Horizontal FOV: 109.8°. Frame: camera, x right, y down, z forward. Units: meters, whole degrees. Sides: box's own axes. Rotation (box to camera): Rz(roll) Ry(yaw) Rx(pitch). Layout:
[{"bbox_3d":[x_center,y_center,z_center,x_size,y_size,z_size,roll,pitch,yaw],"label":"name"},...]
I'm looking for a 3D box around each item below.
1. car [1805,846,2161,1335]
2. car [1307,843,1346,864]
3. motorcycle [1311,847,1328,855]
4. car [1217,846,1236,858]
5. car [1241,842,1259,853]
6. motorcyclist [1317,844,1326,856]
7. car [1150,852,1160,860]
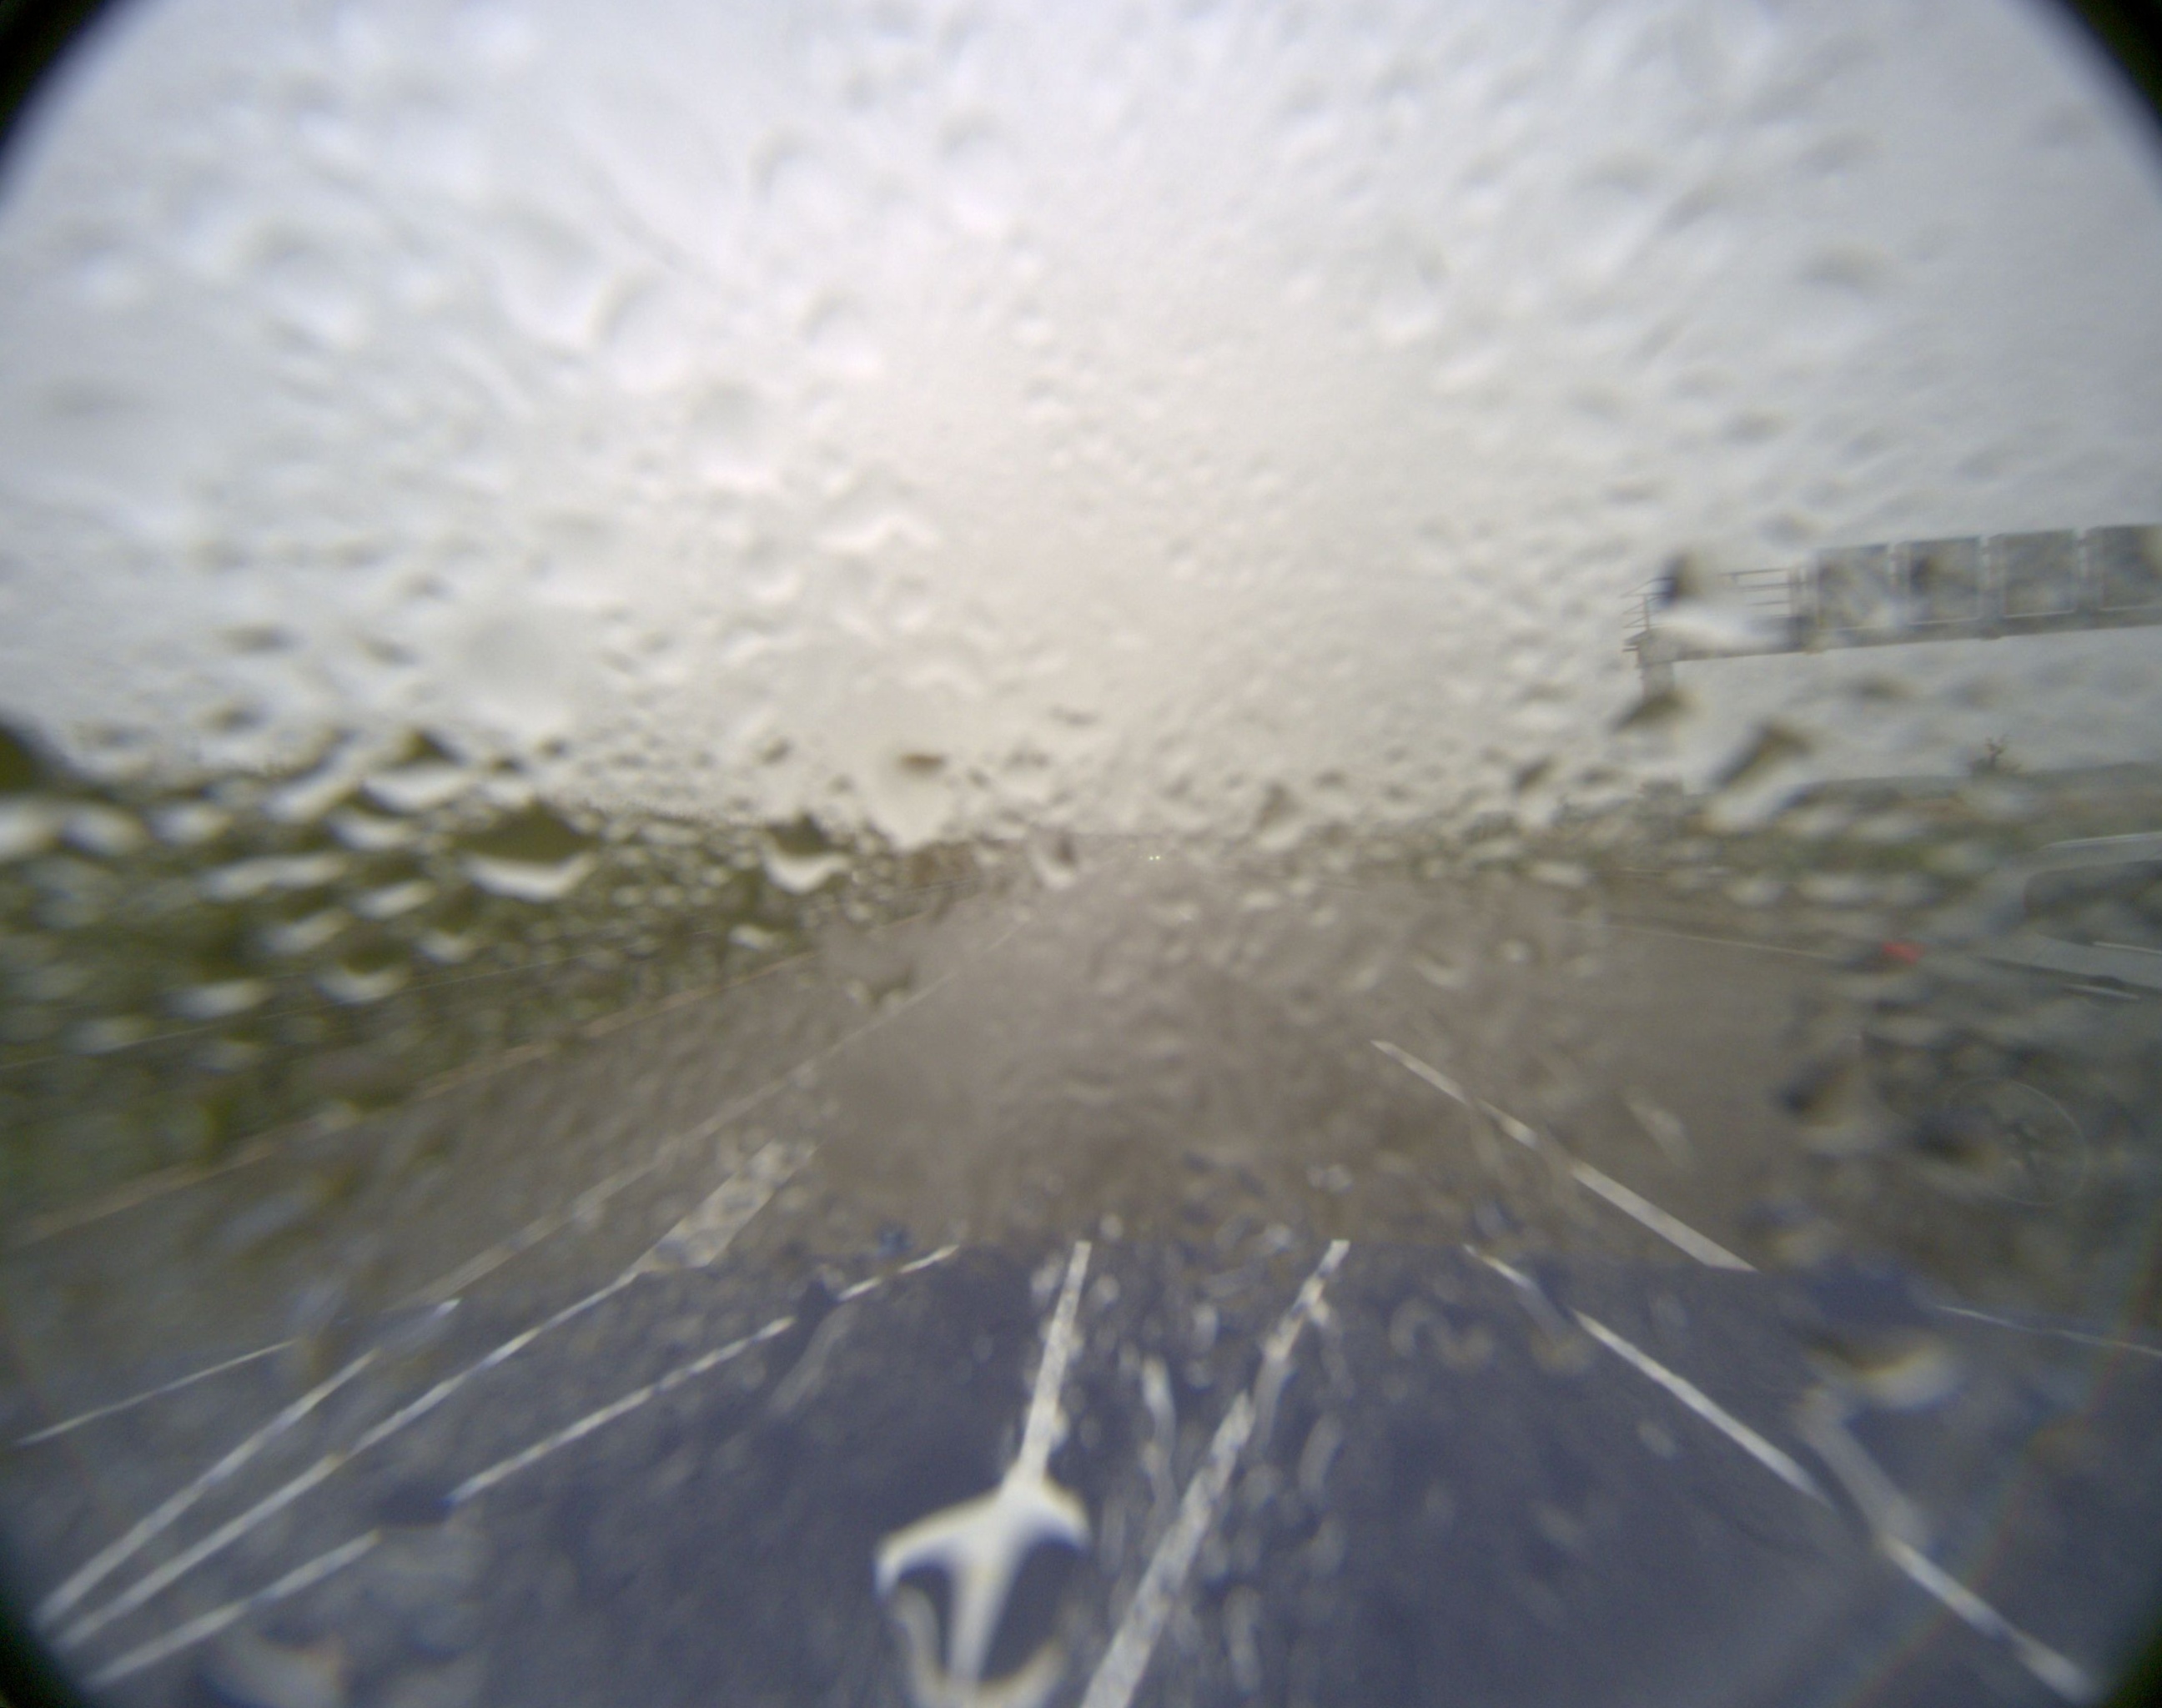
[{"bbox_3d":[4.344,0.760,1.219,1.851,1.504,4.756,-2,0,1],"label":"car"},{"bbox_3d":[21.116,-0.059,65.527,1.998,1.674,4.444,-2,0,1],"label":"car"},{"bbox_3d":[26.326,-0.335,83.870,0.921,0.908,3.545,-2,0,3],"label":"motorcycle"},{"bbox_3d":[20.055,-0.299,105.031,1.824,1.565,4.086,-2,0,1],"label":"car"},{"bbox_3d":[23.306,-0.925,104.672,1.699,1.477,4.000,-2,0,3],"label":"car"},{"bbox_3d":[26.307,-0.417,83.093,0.750,1.301,0.941,-2,1,1],"label":"motorcyclist"},{"bbox_3d":[14.532,0.331,149.717,1.700,1.543,3.734,-2,1,4],"label":"car"}]
